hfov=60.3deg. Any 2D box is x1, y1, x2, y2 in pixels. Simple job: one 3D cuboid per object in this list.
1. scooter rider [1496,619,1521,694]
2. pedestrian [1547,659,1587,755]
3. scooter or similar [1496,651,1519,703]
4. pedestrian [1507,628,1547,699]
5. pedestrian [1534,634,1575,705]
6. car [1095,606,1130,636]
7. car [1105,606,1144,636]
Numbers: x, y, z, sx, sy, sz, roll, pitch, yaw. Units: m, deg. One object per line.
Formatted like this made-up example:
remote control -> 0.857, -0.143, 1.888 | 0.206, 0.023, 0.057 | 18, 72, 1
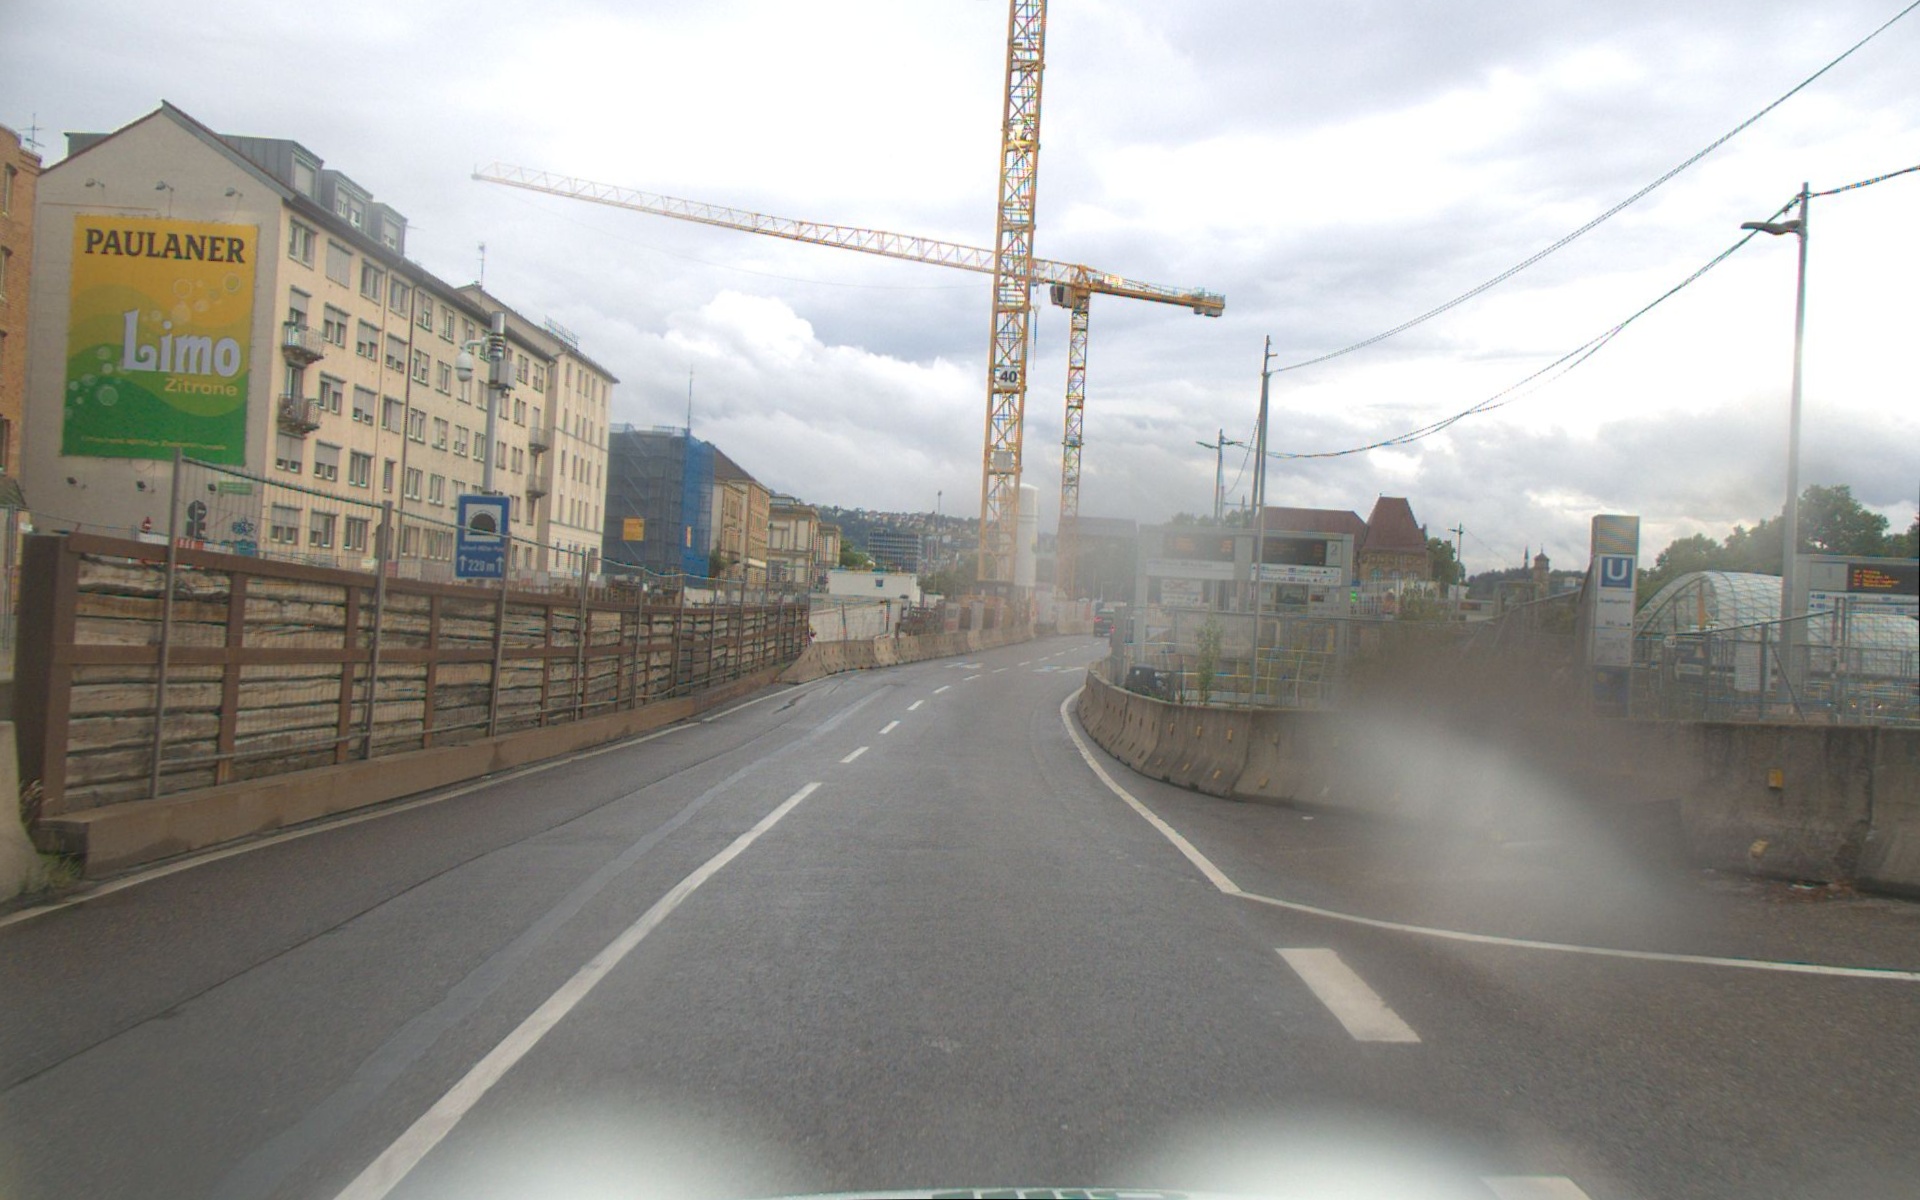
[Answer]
scooter rider -> 13.338, 1.373, 40.247 | 0.510, 1.786, 0.699 | 2, 0, 19
pedestrian -> 11.797, 2.071, 32.163 | 0.675, 1.809, 0.815 | 2, -1, 19
scooter or similar -> 13.320, 1.873, 40.250 | 0.480, 1.200, 1.096 | 2, 0, 19
pedestrian -> 14.857, 1.650, 43.373 | 0.675, 1.809, 1.023 | 2, -1, 2
pedestrian -> 15.581, 1.821, 43.347 | 0.711, 1.809, 1.023 | 2, -1, 3
car -> 9.523, 1.284, 102.980 | 1.823, 1.689, 4.660 | 3, 0, 9
car -> 8.316, 1.062, 83.506 | 1.823, 1.458, 4.659 | 1, -1, 7
